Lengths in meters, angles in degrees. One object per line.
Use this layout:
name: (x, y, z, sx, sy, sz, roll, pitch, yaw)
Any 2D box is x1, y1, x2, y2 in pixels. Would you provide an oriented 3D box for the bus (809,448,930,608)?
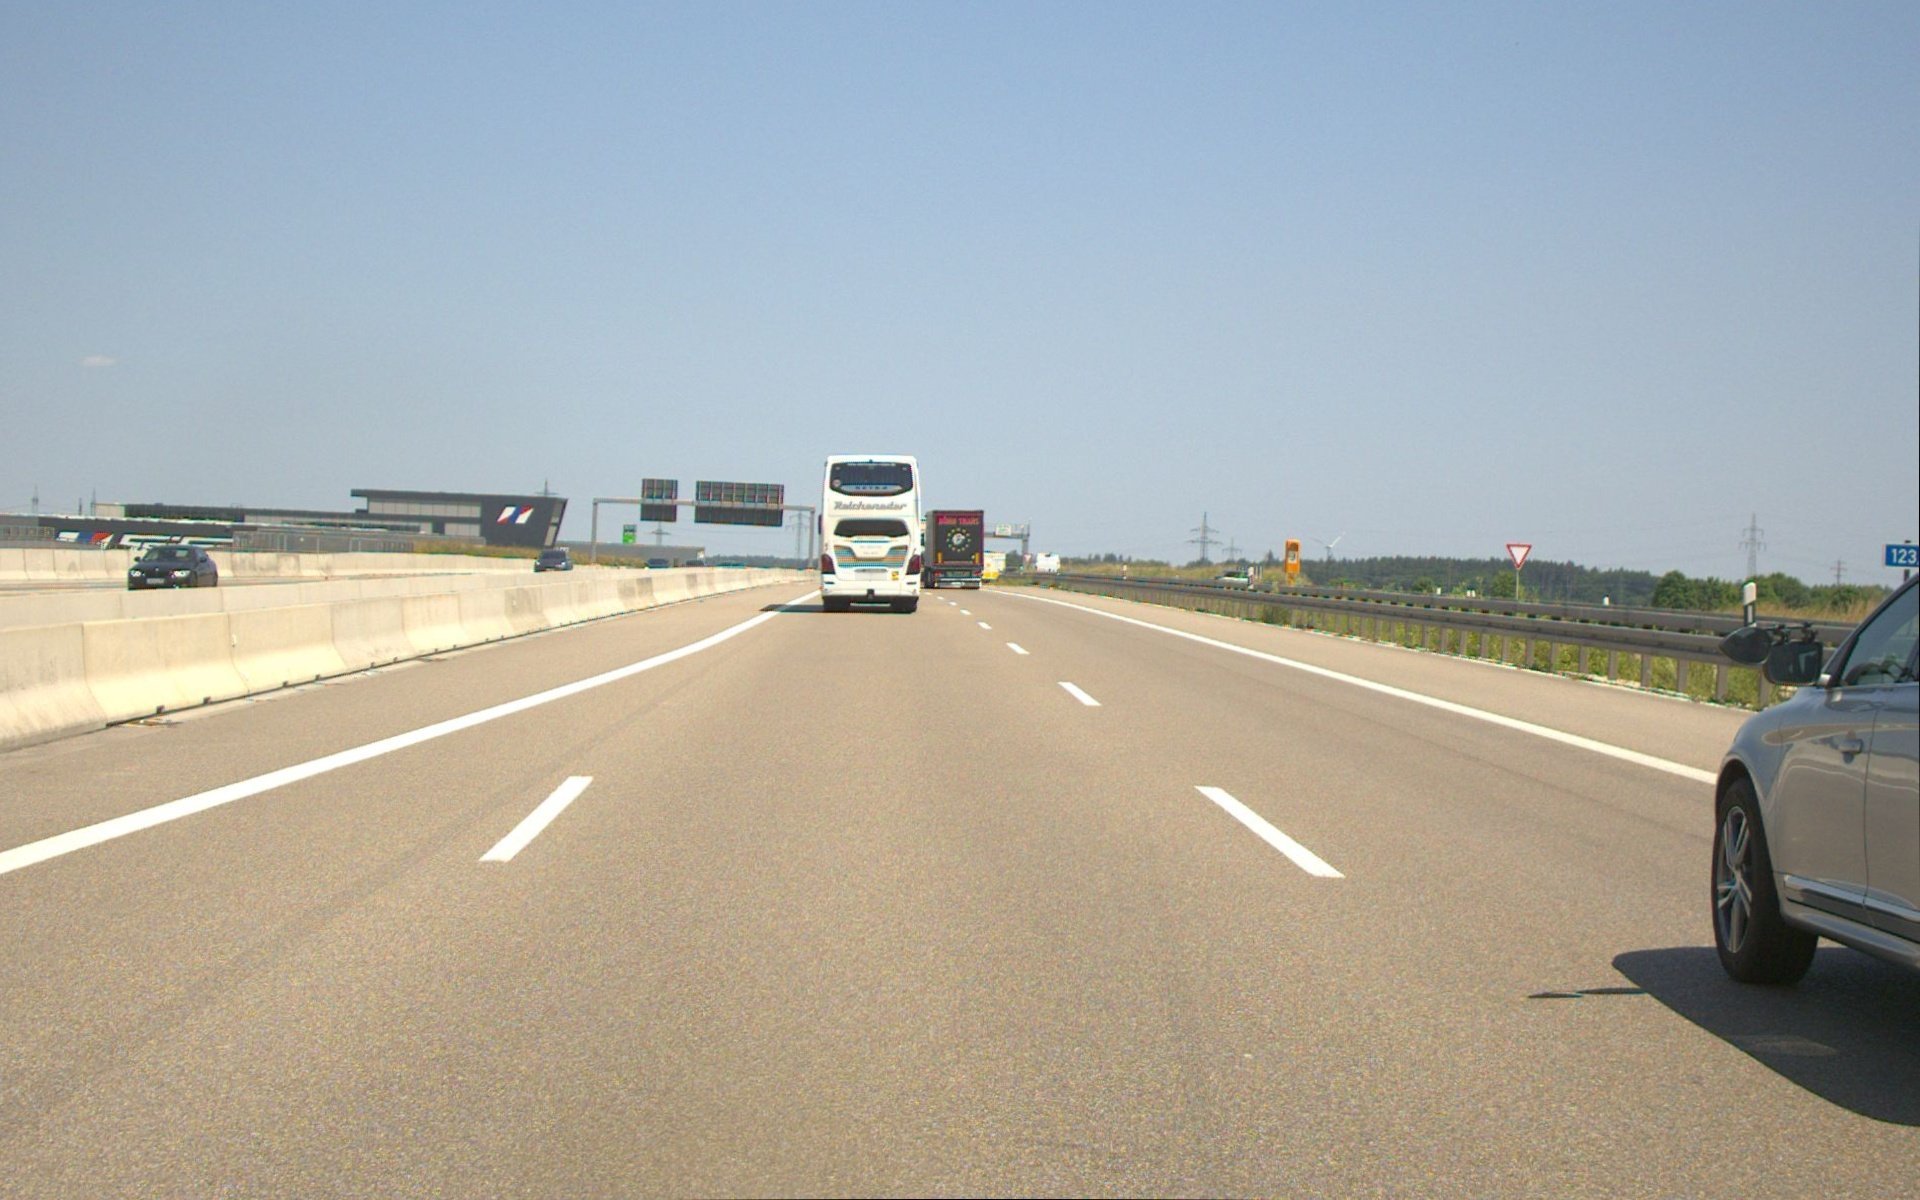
bus: (-2.447, -1.883, 91.211, 2.980, 3.961, 9.106, 1, 1, -2)

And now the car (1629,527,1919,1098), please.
car: (3.645, 0.597, 11.112, 1.880, 1.617, 4.904, 1, 1, -1)

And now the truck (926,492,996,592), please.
truck: (0.069, -2.923, 178.381, 3.379, 4.449, 13.566, 2, -2, 0)

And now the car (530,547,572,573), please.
car: (-23.373, -2.316, 196.757, 1.911, 1.415, 4.550, 1, 1, -1)

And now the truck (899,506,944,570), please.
truck: (-2.370, -3.779, 209.094, 2.437, 3.776, 6.494, 1, 1, -2)

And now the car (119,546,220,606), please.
car: (-21.340, -0.677, 92.959, 1.732, 1.531, 4.549, 1, 1, -1)
